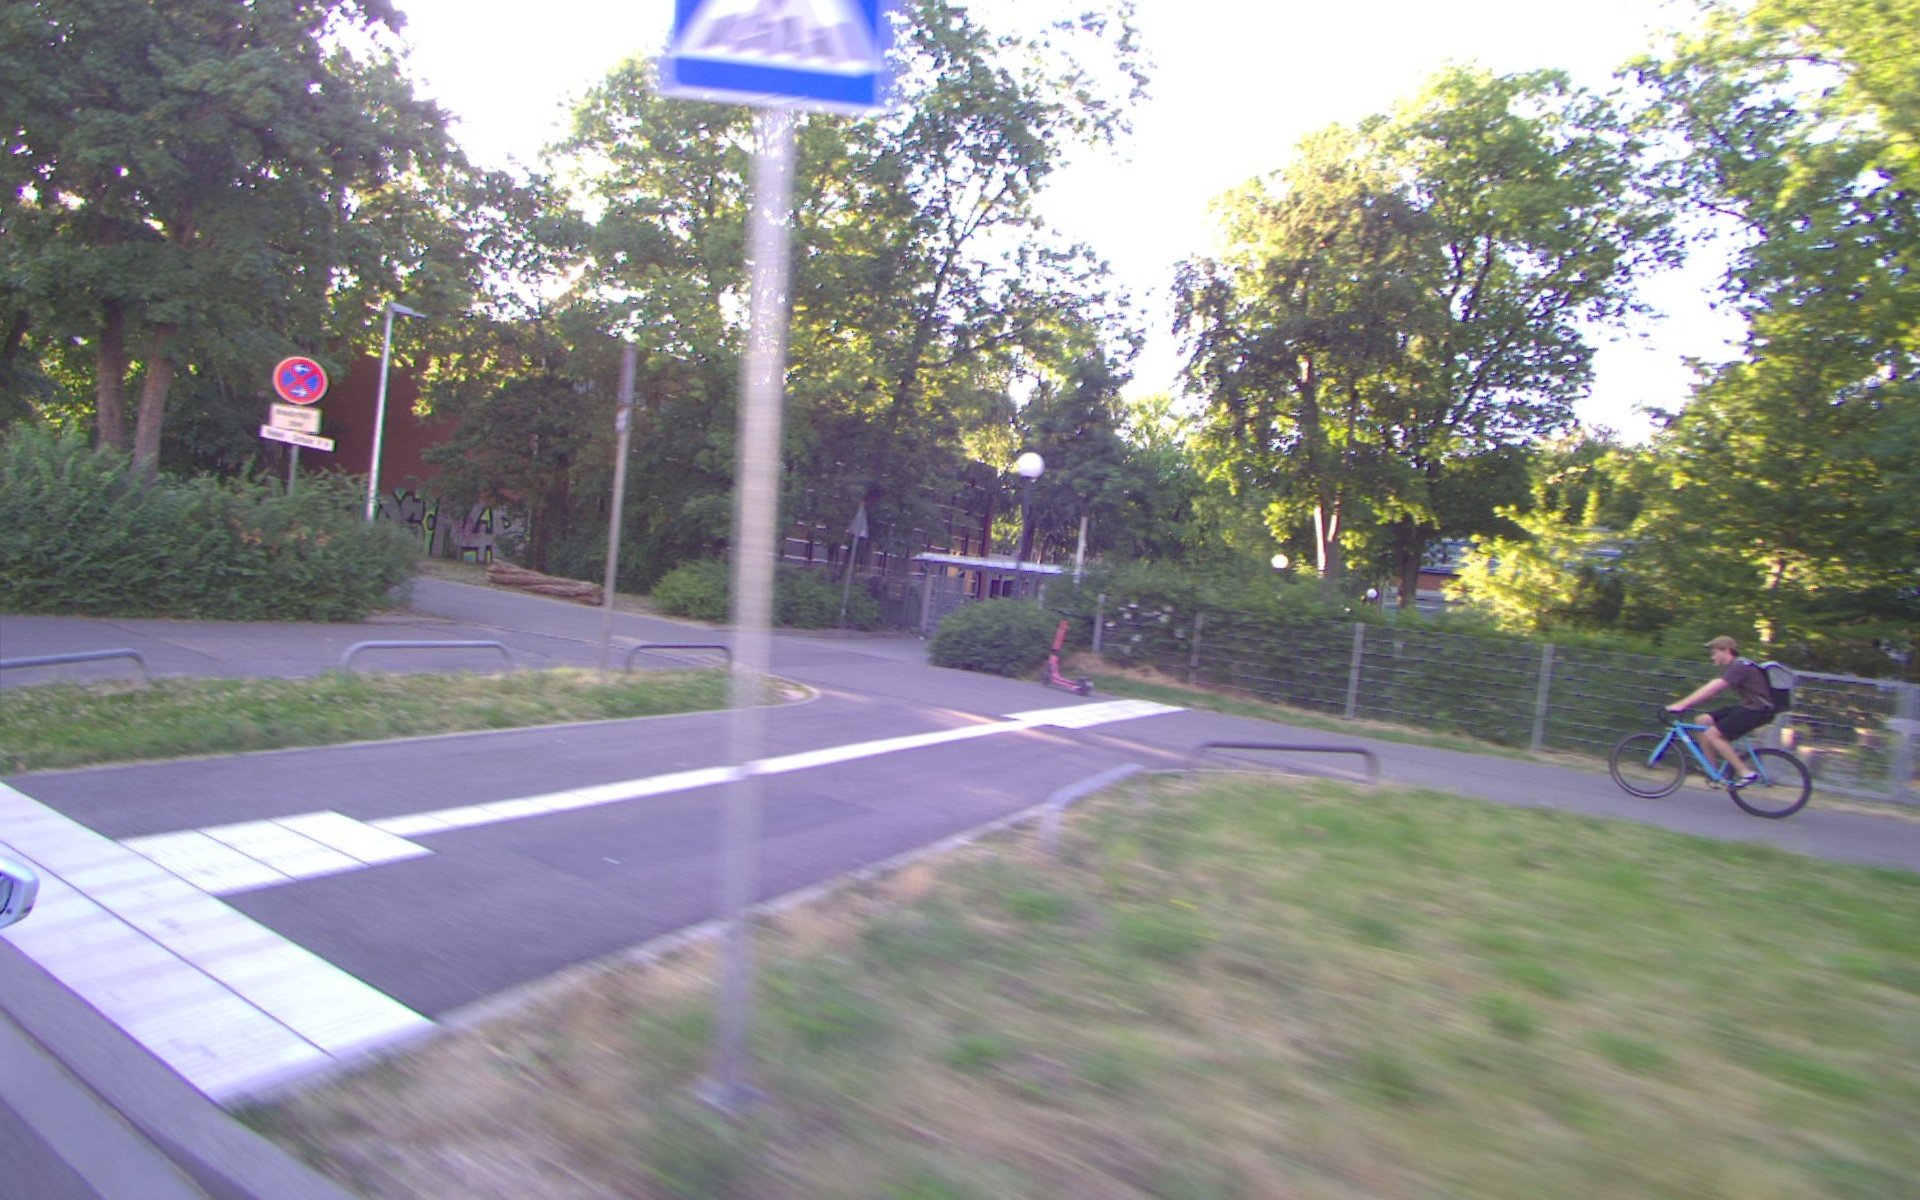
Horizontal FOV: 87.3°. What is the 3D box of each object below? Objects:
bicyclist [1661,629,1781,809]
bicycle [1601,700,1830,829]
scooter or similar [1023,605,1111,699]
[{"bbox_3d":[7.602,1.165,10.082,0.712,1.666,0.532,7,3,30],"label":"bicyclist"},{"bbox_3d":[7.523,1.615,10.119,1.693,0.930,0.532,7,2,30],"label":"bicycle"},{"bbox_3d":[1.580,0.751,15.056,0.382,1.223,1.457,5,2,-31],"label":"scooter or similar"}]
